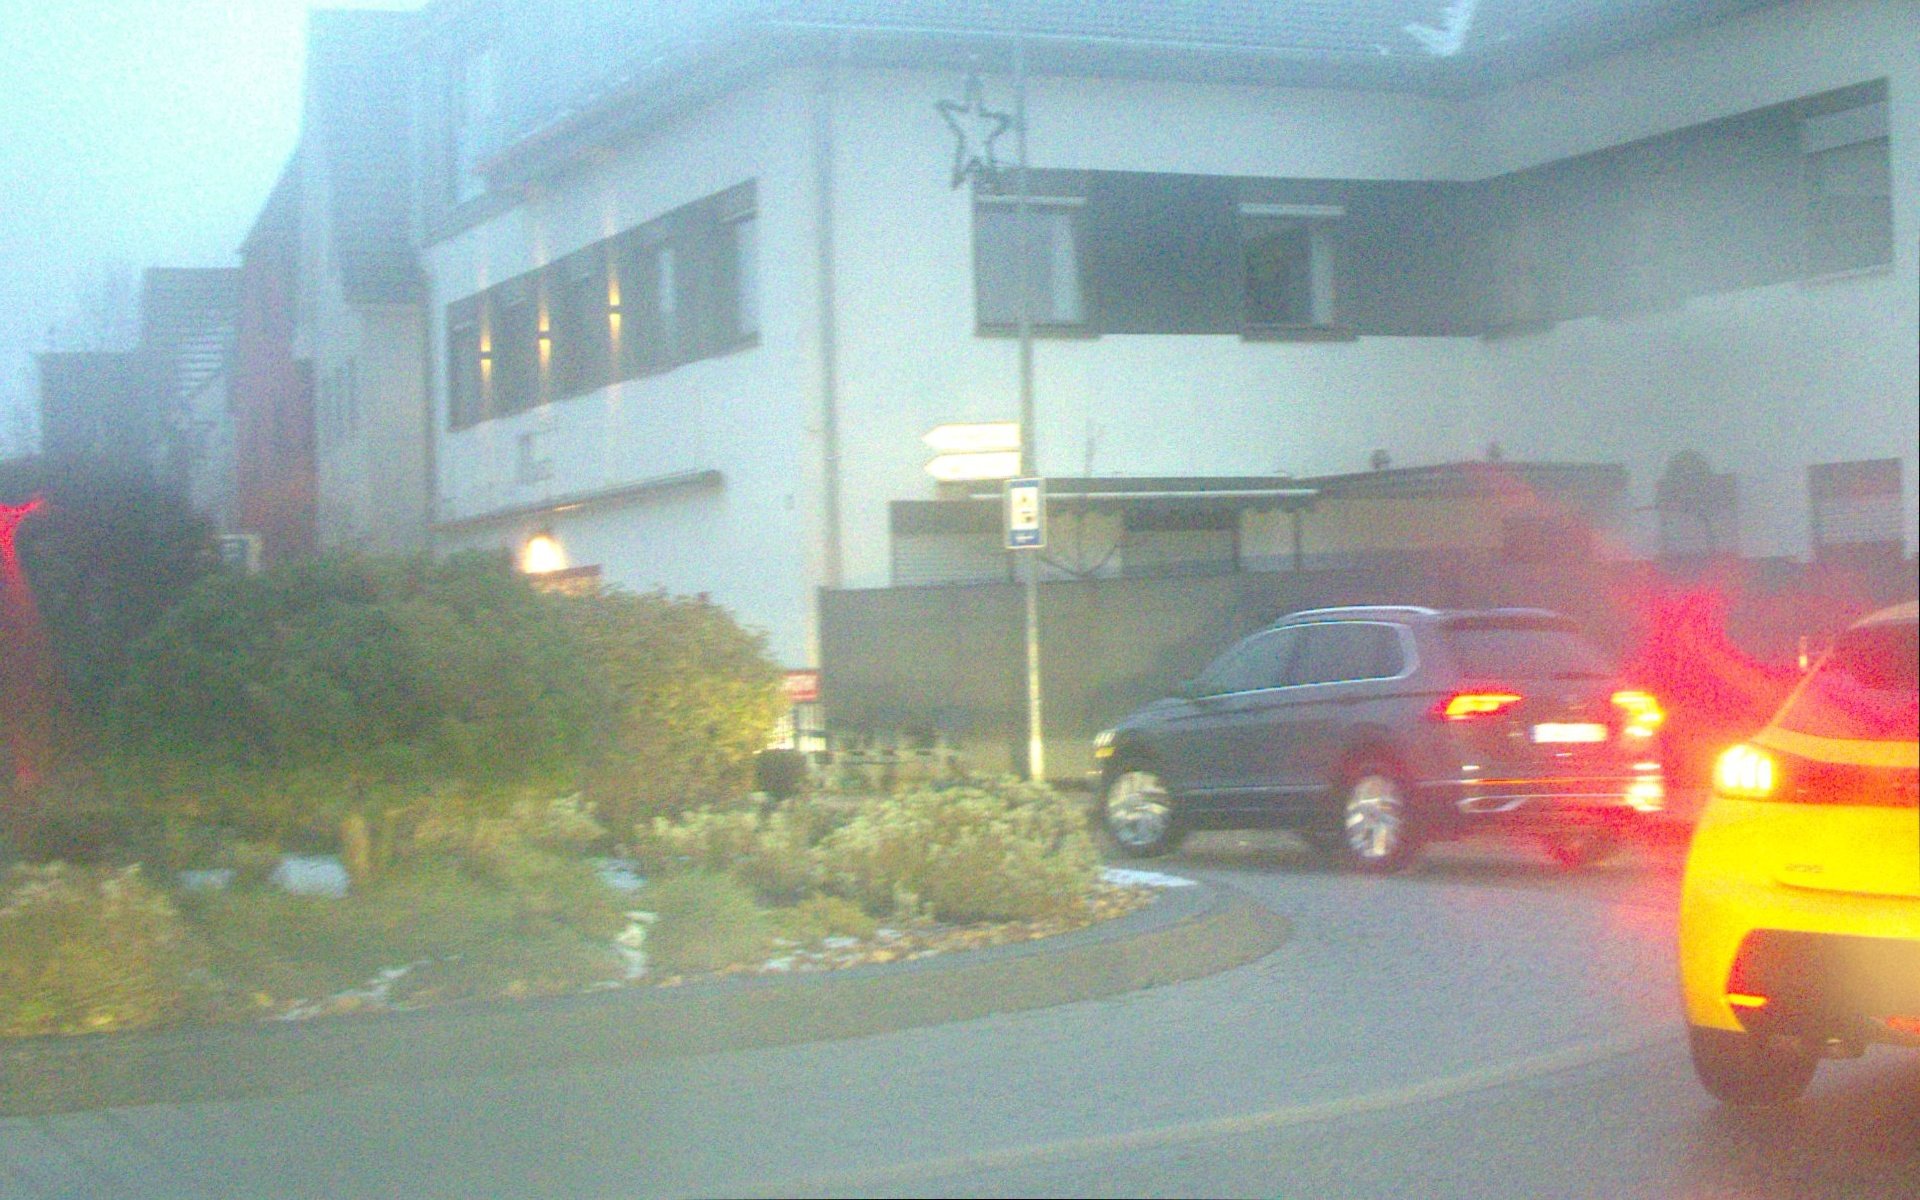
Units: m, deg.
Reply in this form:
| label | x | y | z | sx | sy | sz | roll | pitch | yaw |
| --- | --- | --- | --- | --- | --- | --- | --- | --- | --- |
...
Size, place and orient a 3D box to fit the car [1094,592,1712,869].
| label | x | y | z | sx | sy | sz | roll | pitch | yaw |
| --- | --- | --- | --- | --- | --- | --- | --- | --- | --- |
| car | 2.768 | 0.777 | 22.317 | 1.916 | 1.610 | 3.950 | 0 | 0 | -31 |

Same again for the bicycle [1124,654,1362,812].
| label | x | y | z | sx | sy | sz | roll | pitch | yaw |
| --- | --- | --- | --- | --- | --- | --- | --- | --- | --- |
| bicycle | 2.397 | 1.117 | 29.235 | 1.939 | 1.291 | 0.551 | 0 | 1 | 28 |

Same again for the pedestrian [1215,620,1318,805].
| label | x | y | z | sx | sy | sz | roll | pitch | yaw |
| --- | --- | --- | --- | --- | --- | --- | --- | --- | --- |
| pedestrian | 2.635 | 0.957 | 29.523 | 0.690 | 1.559 | 0.609 | -1 | 0 | 27 |

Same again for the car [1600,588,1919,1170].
| label | x | y | z | sx | sy | sz | roll | pitch | yaw |
| --- | --- | --- | --- | --- | --- | --- | --- | --- | --- |
| car | 3.520 | 0.674 | 10.033 | 1.713 | 1.417 | 4.004 | 0 | 0 | 36 |
